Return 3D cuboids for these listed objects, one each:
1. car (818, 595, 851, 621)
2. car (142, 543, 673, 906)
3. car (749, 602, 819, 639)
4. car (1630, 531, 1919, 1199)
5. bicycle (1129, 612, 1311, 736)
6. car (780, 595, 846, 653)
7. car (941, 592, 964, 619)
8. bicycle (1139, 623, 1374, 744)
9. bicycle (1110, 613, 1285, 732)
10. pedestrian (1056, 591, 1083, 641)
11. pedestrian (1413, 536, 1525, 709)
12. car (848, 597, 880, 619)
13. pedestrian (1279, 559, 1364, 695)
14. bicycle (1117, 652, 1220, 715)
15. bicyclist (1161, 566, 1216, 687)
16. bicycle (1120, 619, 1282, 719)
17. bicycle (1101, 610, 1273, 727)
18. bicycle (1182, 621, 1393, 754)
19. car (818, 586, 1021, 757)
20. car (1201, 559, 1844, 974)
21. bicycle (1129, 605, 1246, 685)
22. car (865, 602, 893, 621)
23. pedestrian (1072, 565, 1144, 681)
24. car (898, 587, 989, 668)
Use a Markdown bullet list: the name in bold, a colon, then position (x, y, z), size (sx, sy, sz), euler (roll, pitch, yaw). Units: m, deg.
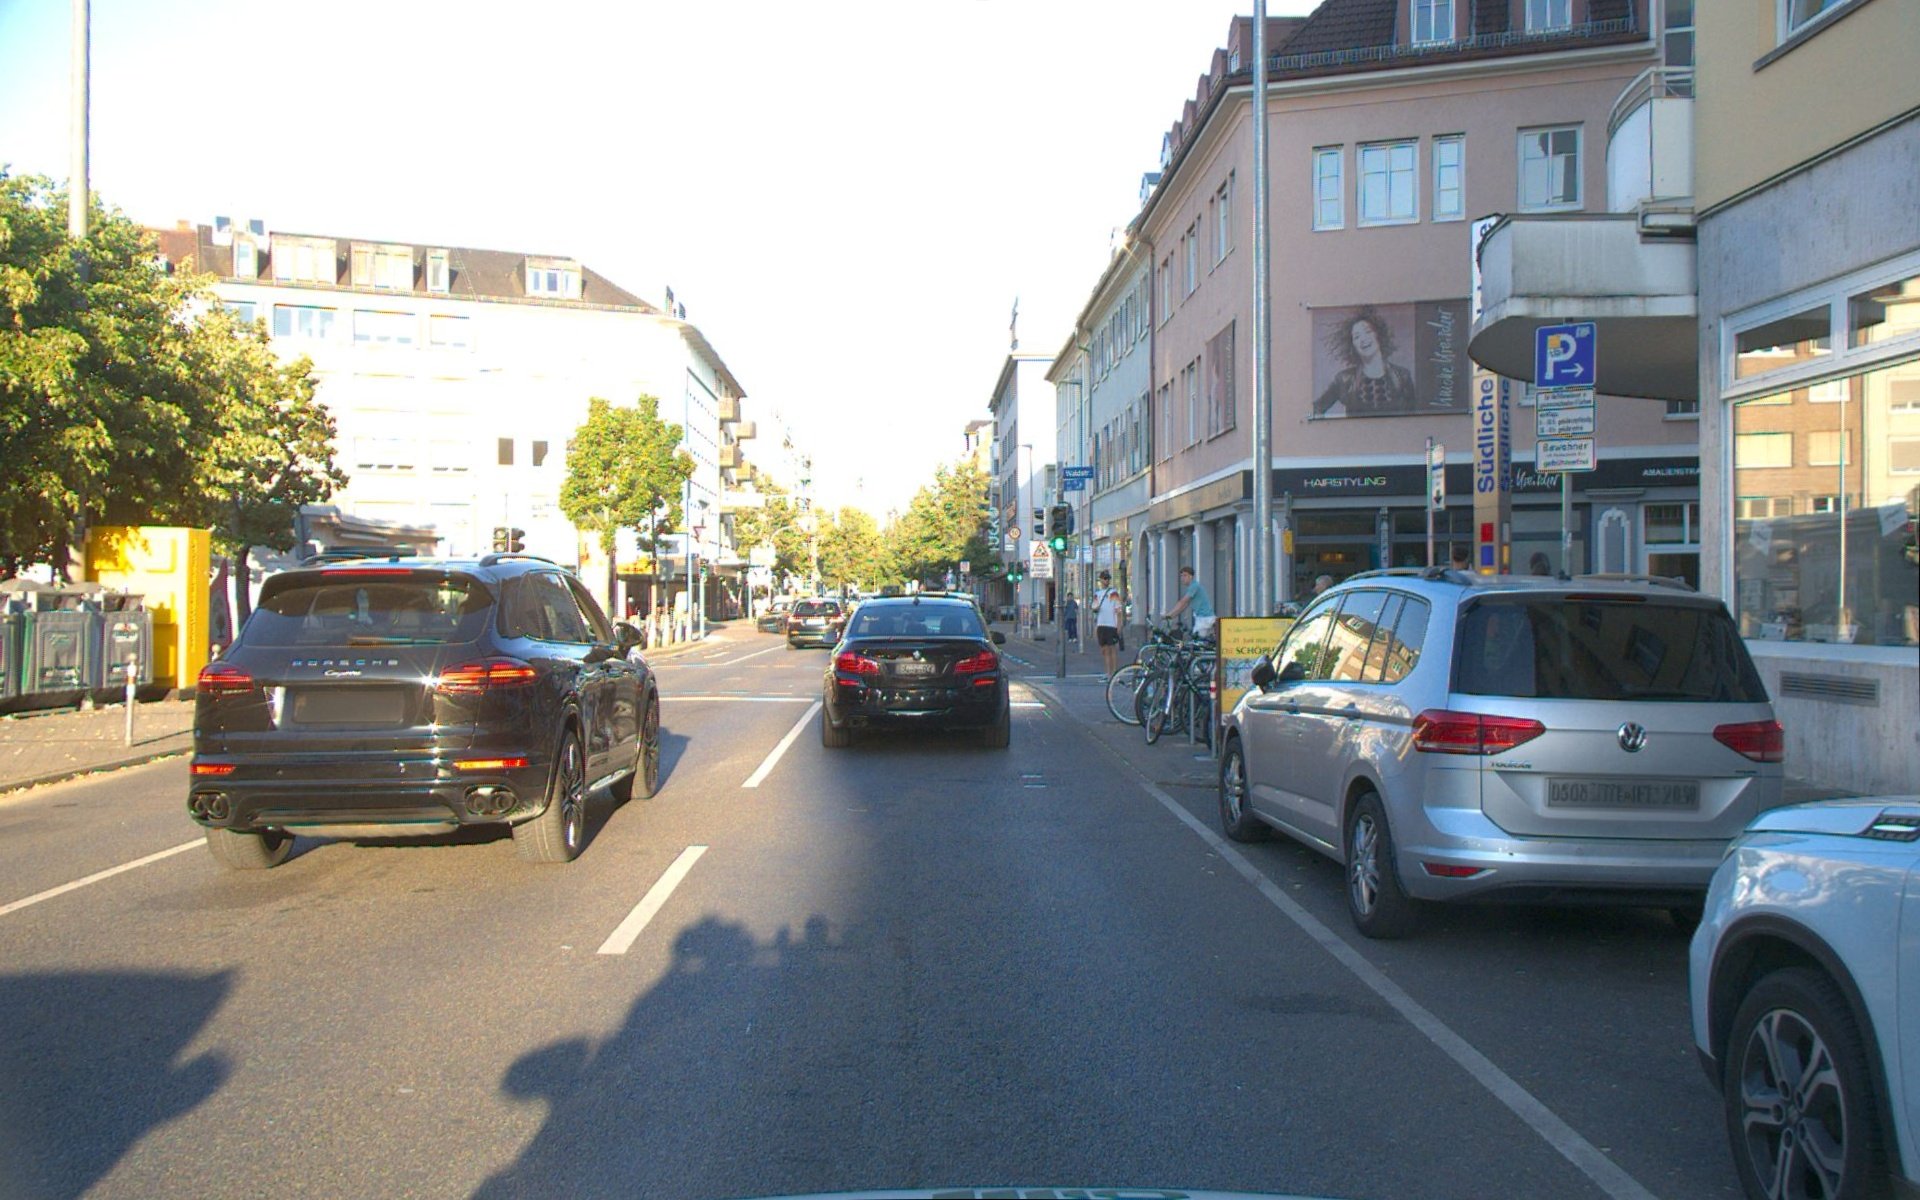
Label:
- **car**: position (-8.156, 0.519, 107.550), size (1.956, 1.646, 3.993), euler (0, 0, -7)
- **car**: position (-3.087, 0.593, 10.358), size (1.909, 1.744, 4.560), euler (-1, 0, -2)
- **car**: position (-7.577, 0.856, 71.094), size (1.966, 1.512, 3.972), euler (0, 0, -23)
- **car**: position (2.854, 0.690, 2.680), size (1.780, 1.649, 4.202), euler (0, 0, -1)
- **bicycle**: position (2.709, 0.752, 17.242), size (1.751, 1.193, 0.620), euler (-2, 0, -13)
- **car**: position (-4.299, 0.677, 48.874), size (1.835, 1.623, 4.446), euler (0, 0, -4)
- **car**: position (-0.542, 0.404, 116.630), size (1.393, 1.887, 3.049), euler (1, -1, -5)
- **bicycle**: position (2.906, 0.802, 16.295), size (2.129, 1.094, 0.804), euler (-1, 0, -9)
- **bicycle**: position (2.561, 0.764, 17.869), size (1.751, 1.193, 0.620), euler (-2, 0, -13)
- **pedestrian**: position (3.696, 0.524, 55.741), size (0.807, 1.670, 0.871), euler (0, 0, -4)
- **pedestrian**: position (5.605, 0.239, 18.240), size (0.816, 1.848, 0.861), euler (0, 0, -34)
- **car**: position (-6.595, 0.514, 113.193), size (1.956, 1.467, 3.993), euler (0, 0, -7)
- **pedestrian**: position (4.611, 0.335, 21.084), size (0.778, 1.682, 0.775), euler (-1, 0, 42)
- **bicycle**: position (2.526, 1.000, 20.142), size (0.986, 0.693, 1.048), euler (0, 0, -11)
- **bicyclist**: position (3.559, 0.406, 25.834), size (0.815, 1.858, 0.831), euler (0, 0, 6)
- **bicycle**: position (2.842, 0.800, 19.563), size (1.751, 1.082, 0.716), euler (-2, 0, -13)
- **bicycle**: position (2.543, 0.755, 18.616), size (1.808, 1.261, 0.638), euler (-1, 0, -7)
- **bicycle**: position (3.022, 0.790, 15.300), size (1.812, 1.143, 0.593), euler (-1, -1, -13)
- **car**: position (-0.478, 0.647, 17.446), size (1.865, 1.567, 4.447), euler (0, 0, -3)
- **car**: position (2.603, 0.654, 8.951), size (1.664, 1.645, 4.679), euler (0, 0, -3)
- **bicycle**: position (3.550, 0.697, 25.844), size (1.781, 1.207, 0.794), euler (0, 0, 7)
- **car**: position (-5.888, 0.813, 119.990), size (1.701, 1.315, 3.993), euler (0, 0, -7)
- **pedestrian**: position (2.507, 0.375, 28.045), size (0.927, 1.931, 0.818), euler (0, 0, -29)
- **car**: position (-0.340, 0.532, 34.666), size (1.795, 1.603, 4.100), euler (0, 0, 0)
